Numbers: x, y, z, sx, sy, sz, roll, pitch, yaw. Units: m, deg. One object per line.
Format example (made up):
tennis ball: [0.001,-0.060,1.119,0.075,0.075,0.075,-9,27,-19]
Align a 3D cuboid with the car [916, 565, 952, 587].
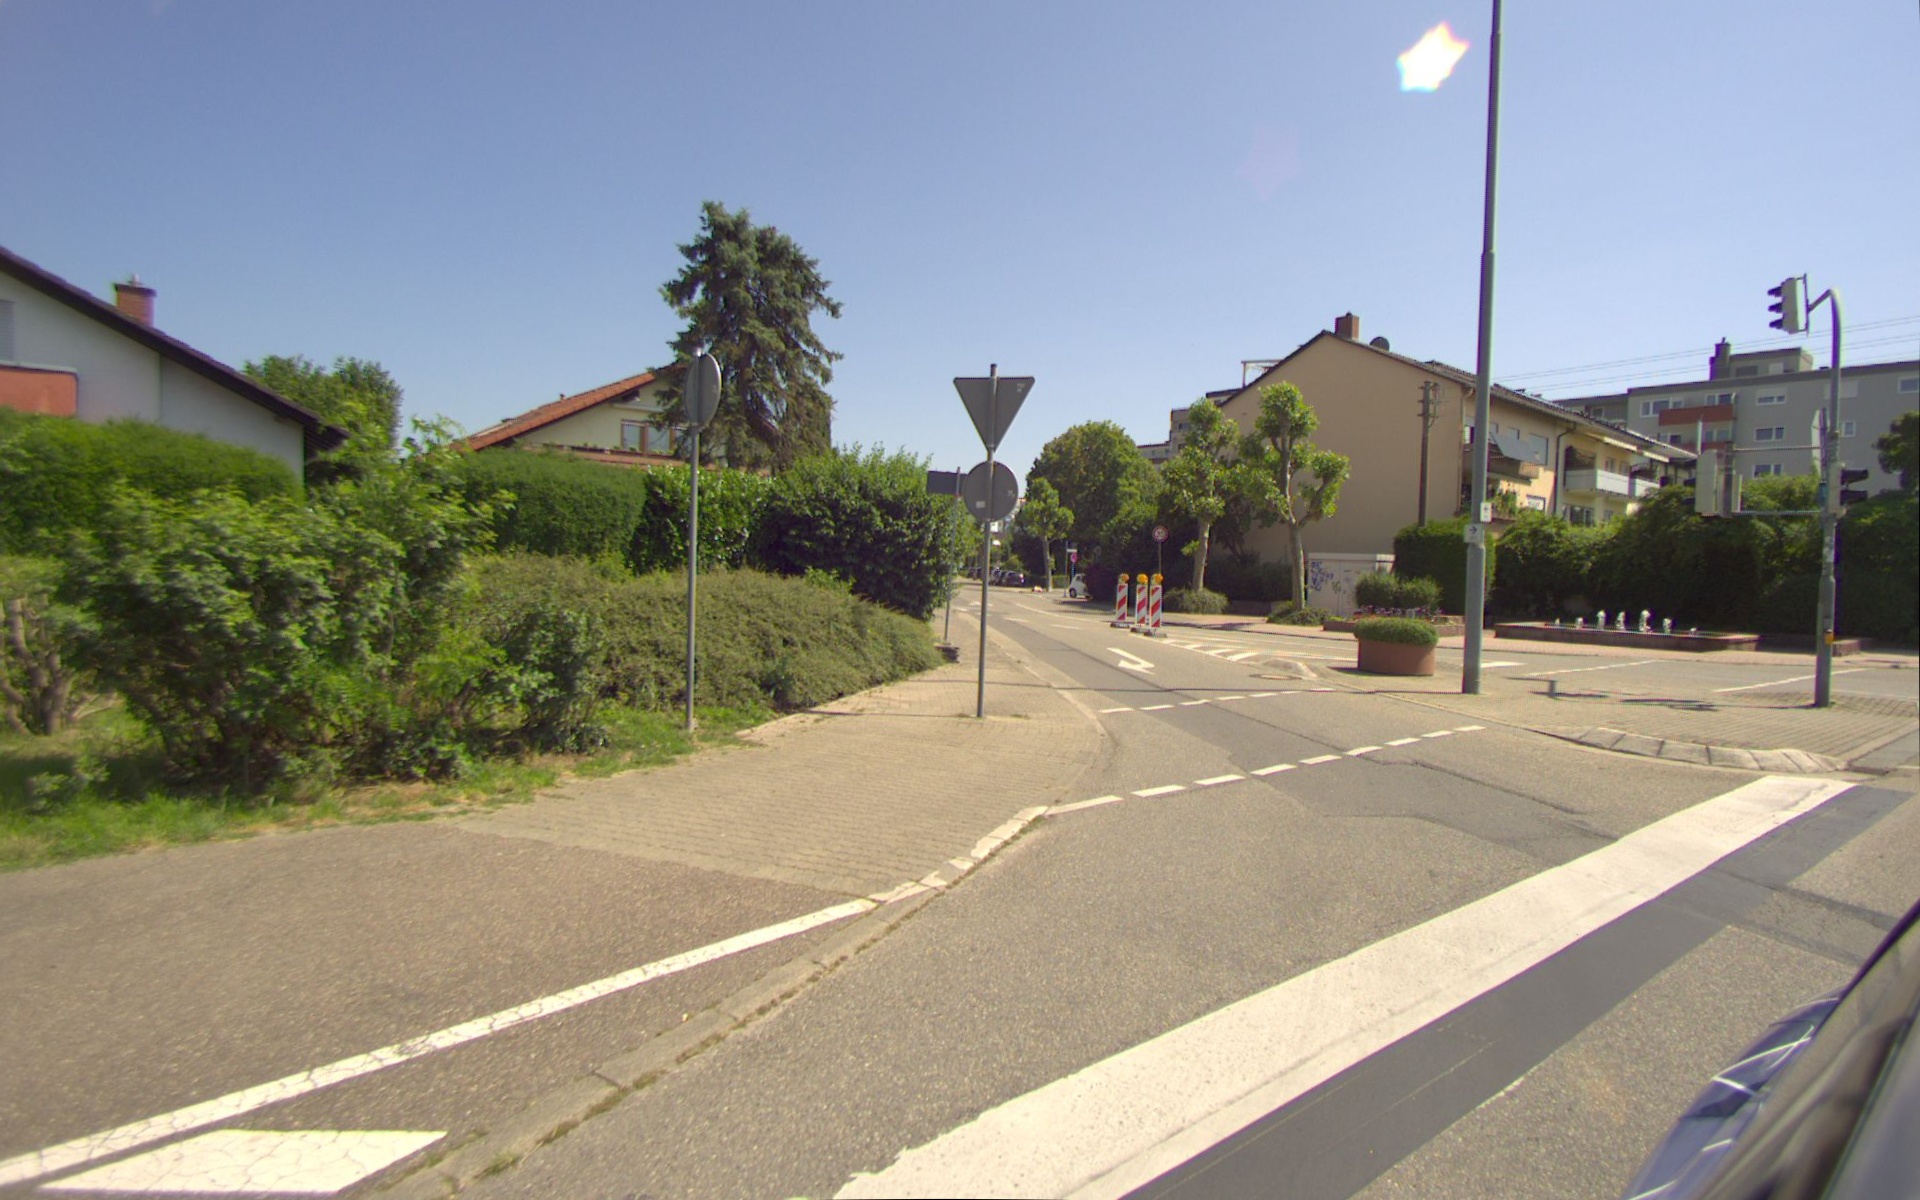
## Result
car: [-1.894,-1.697,72.064,1.959,1.437,4.008,1,2,-10]

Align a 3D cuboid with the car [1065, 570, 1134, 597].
car: [8.660,-1.024,62.982,1.910,1.482,3.996,0,3,-41]

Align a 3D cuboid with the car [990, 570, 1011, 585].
car: [3.973,-2.239,99.701,1.963,1.437,3.999,2,2,2]

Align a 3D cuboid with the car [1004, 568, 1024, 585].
car: [4.799,-2.097,89.841,1.683,1.437,3.999,2,2,2]
